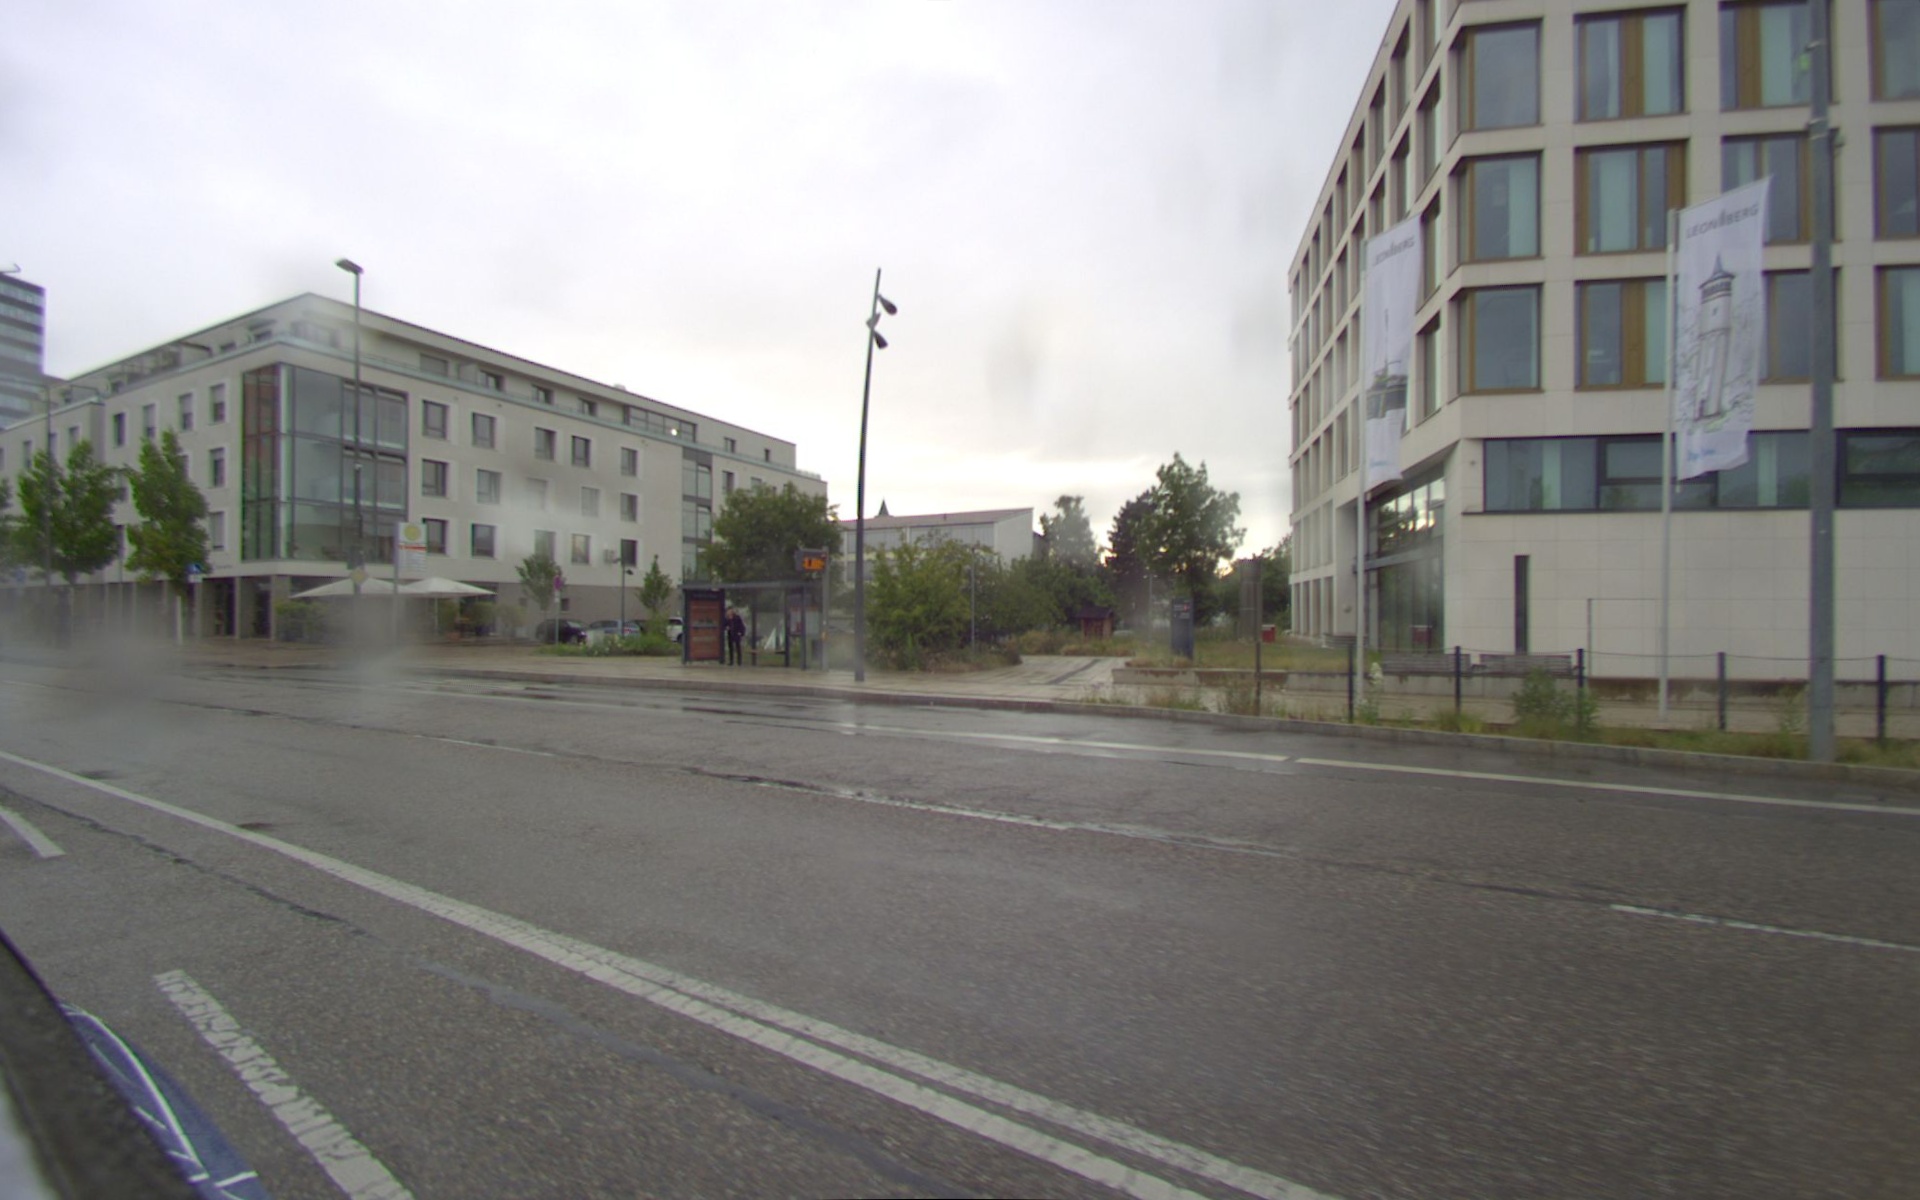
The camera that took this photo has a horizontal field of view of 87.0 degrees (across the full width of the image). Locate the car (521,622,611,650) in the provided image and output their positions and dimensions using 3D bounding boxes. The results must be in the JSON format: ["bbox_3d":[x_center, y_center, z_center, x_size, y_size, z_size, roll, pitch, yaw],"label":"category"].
[{"bbox_3d":[-21.532,1.950,55.291,4.433,1.305,1.784,2,0,18],"label":"car"}]

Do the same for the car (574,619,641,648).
[{"bbox_3d":[-20.193,1.905,57.992,3.404,1.470,1.494,2,-1,16],"label":"car"}]

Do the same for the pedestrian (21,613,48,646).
[{"bbox_3d":[-50.817,1.625,55.582,1.000,1.751,0.802,2,-1,33],"label":"pedestrian"}]

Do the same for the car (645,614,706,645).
[{"bbox_3d":[-17.925,1.846,63.813,3.430,1.790,1.482,2,-1,18],"label":"car"}]

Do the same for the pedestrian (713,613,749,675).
[{"bbox_3d":[-6.664,1.266,29.506,0.669,1.758,0.780,2,-1,19],"label":"pedestrian"}]
